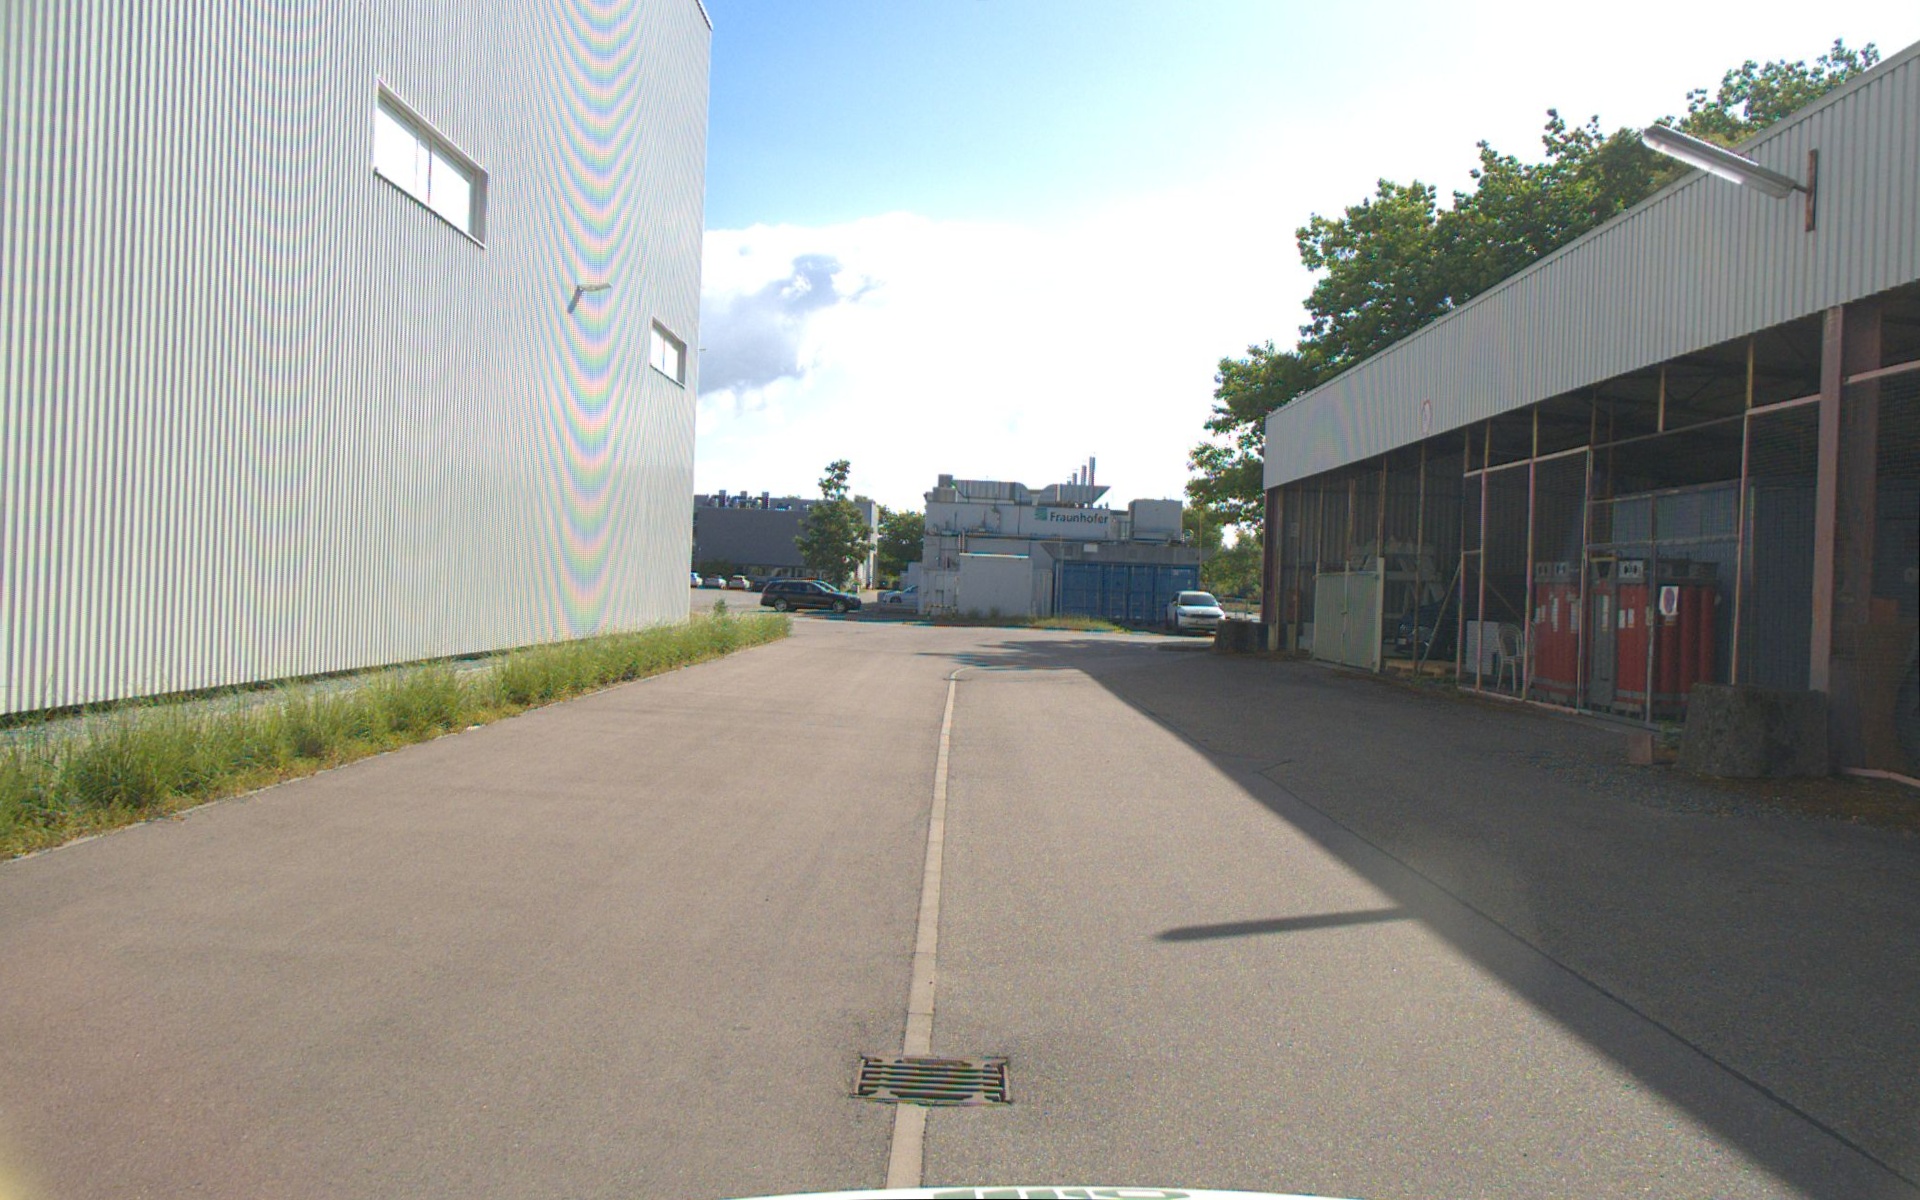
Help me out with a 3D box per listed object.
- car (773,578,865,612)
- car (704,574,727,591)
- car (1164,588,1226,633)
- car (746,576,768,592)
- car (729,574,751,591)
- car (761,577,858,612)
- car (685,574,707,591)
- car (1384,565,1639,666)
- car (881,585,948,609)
[{"bbox_3d":[-6.917,-0.241,81.371,4.357,1.558,1.824,1,0,-1],"label":"car"},{"bbox_3d":[-25.797,-1.798,174.448,1.937,1.707,3.999,0,0,-2],"label":"car"},{"bbox_3d":[9.243,0.384,65.287,1.938,1.630,4.379,1,2,2],"label":"car"},{"bbox_3d":[-21.230,-1.665,173.047,1.820,1.521,4.028,0,0,-2],"label":"car"},{"bbox_3d":[-23.255,-1.793,174.879,1.926,1.742,4.028,0,0,-2],"label":"car"},{"bbox_3d":[-7.061,-0.242,77.725,4.357,1.558,1.824,1,0,-1],"label":"car"},{"bbox_3d":[-27.877,-1.864,174.833,1.762,1.742,4.047,0,0,-2],"label":"car"},{"bbox_3d":[11.566,0.321,34.830,4.679,1.949,1.996,2,0,-8],"label":"car"},{"bbox_3d":[-2.868,-0.199,105.626,4.215,1.483,1.824,1,0,-1],"label":"car"}]
